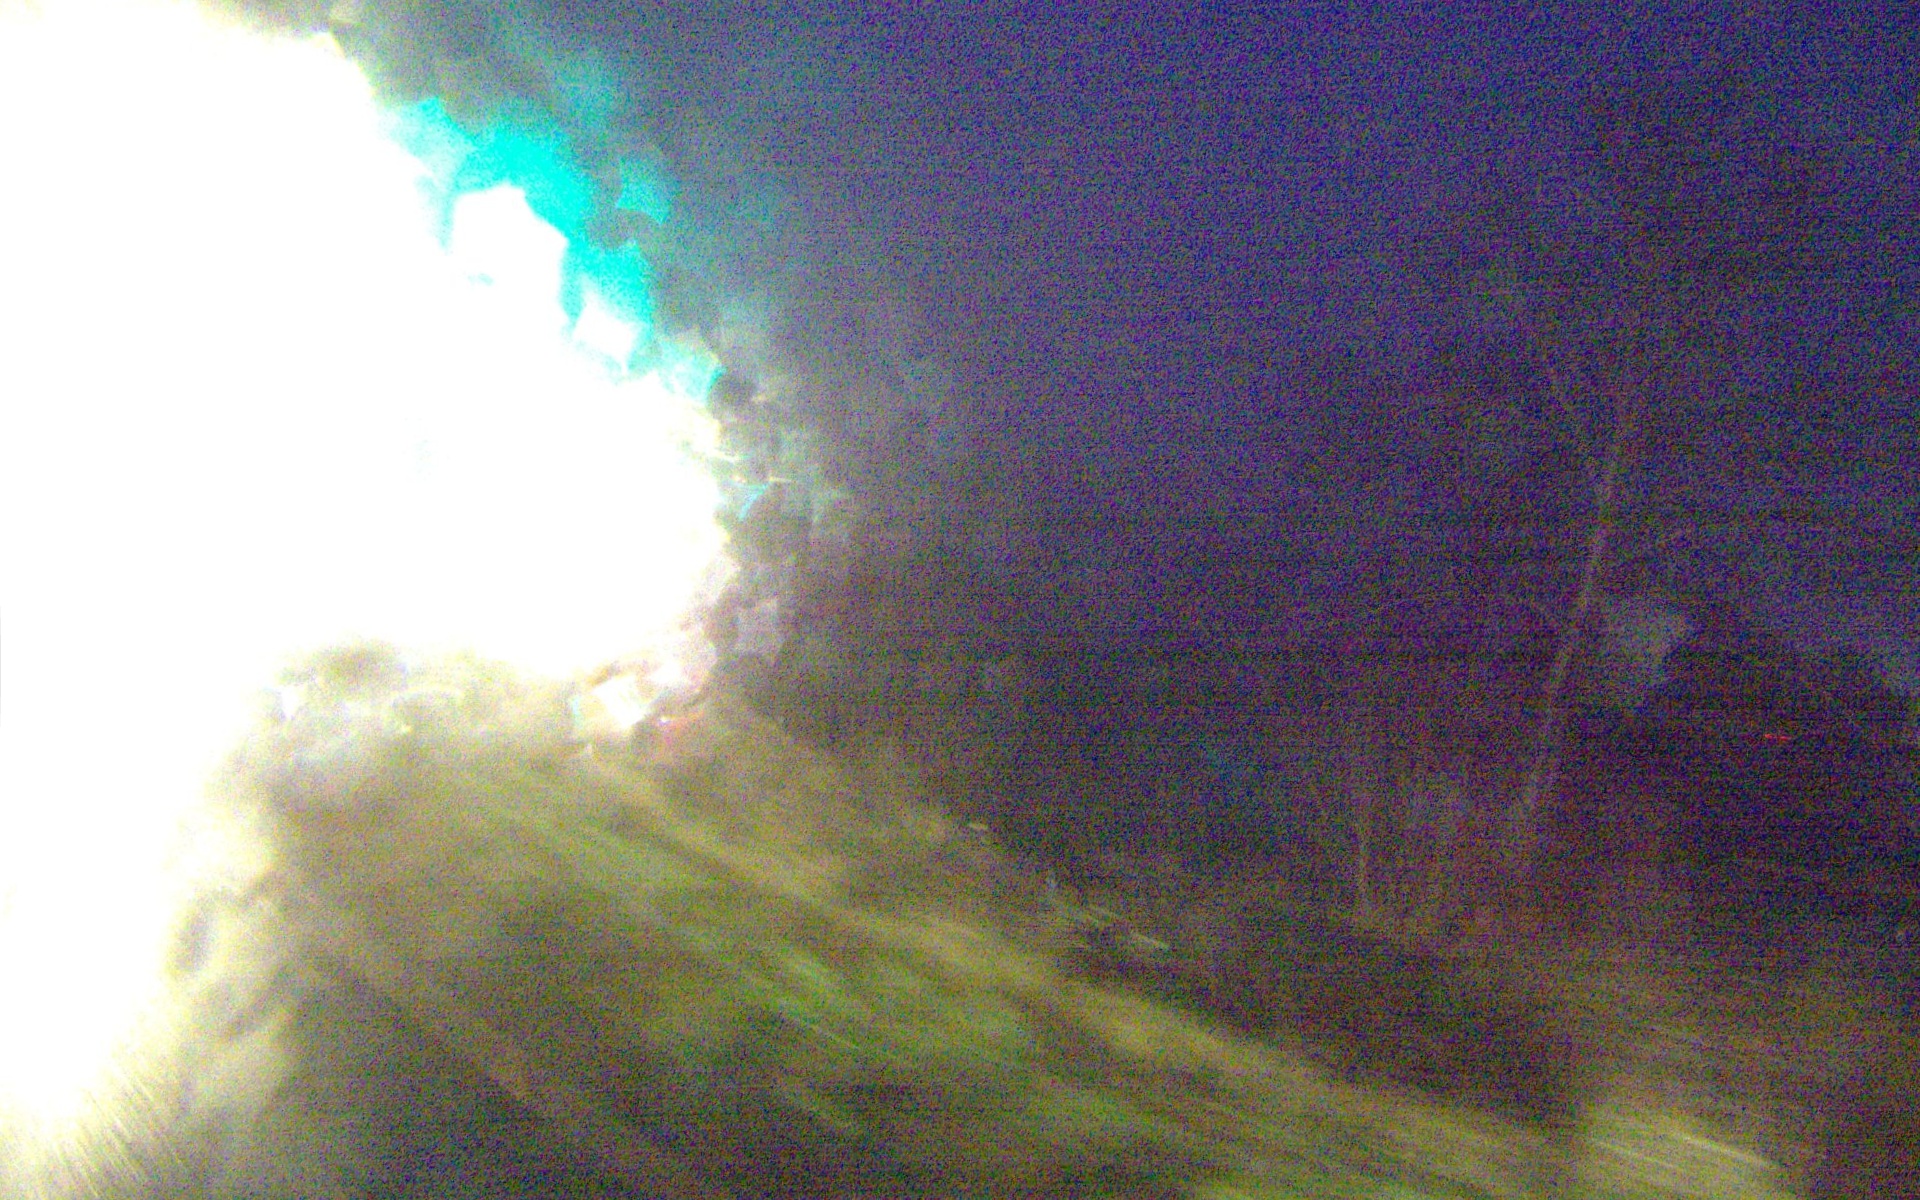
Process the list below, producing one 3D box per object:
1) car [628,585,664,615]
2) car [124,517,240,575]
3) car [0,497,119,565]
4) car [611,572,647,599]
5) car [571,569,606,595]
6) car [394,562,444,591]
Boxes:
[{"bbox_3d":[-22.577,0.021,72.461,1.888,1.617,3.995,11,-4,-13],"label":"car"},{"bbox_3d":[-31.966,-2.151,41.524,1.775,1.683,4.484,8,-4,-11],"label":"car"},{"bbox_3d":[-26.195,-1.957,28.443,1.788,1.597,4.297,6,-1,-12],"label":"car"},{"bbox_3d":[-28.134,-1.210,85.737,2.151,1.617,3.998,11,-4,-10],"label":"car"},{"bbox_3d":[-31.499,-1.502,85.393,2.153,1.617,3.994,11,-4,-14],"label":"car"},{"bbox_3d":[-39.079,-1.668,72.801,1.859,1.546,4.427,8,-4,-12],"label":"car"}]
